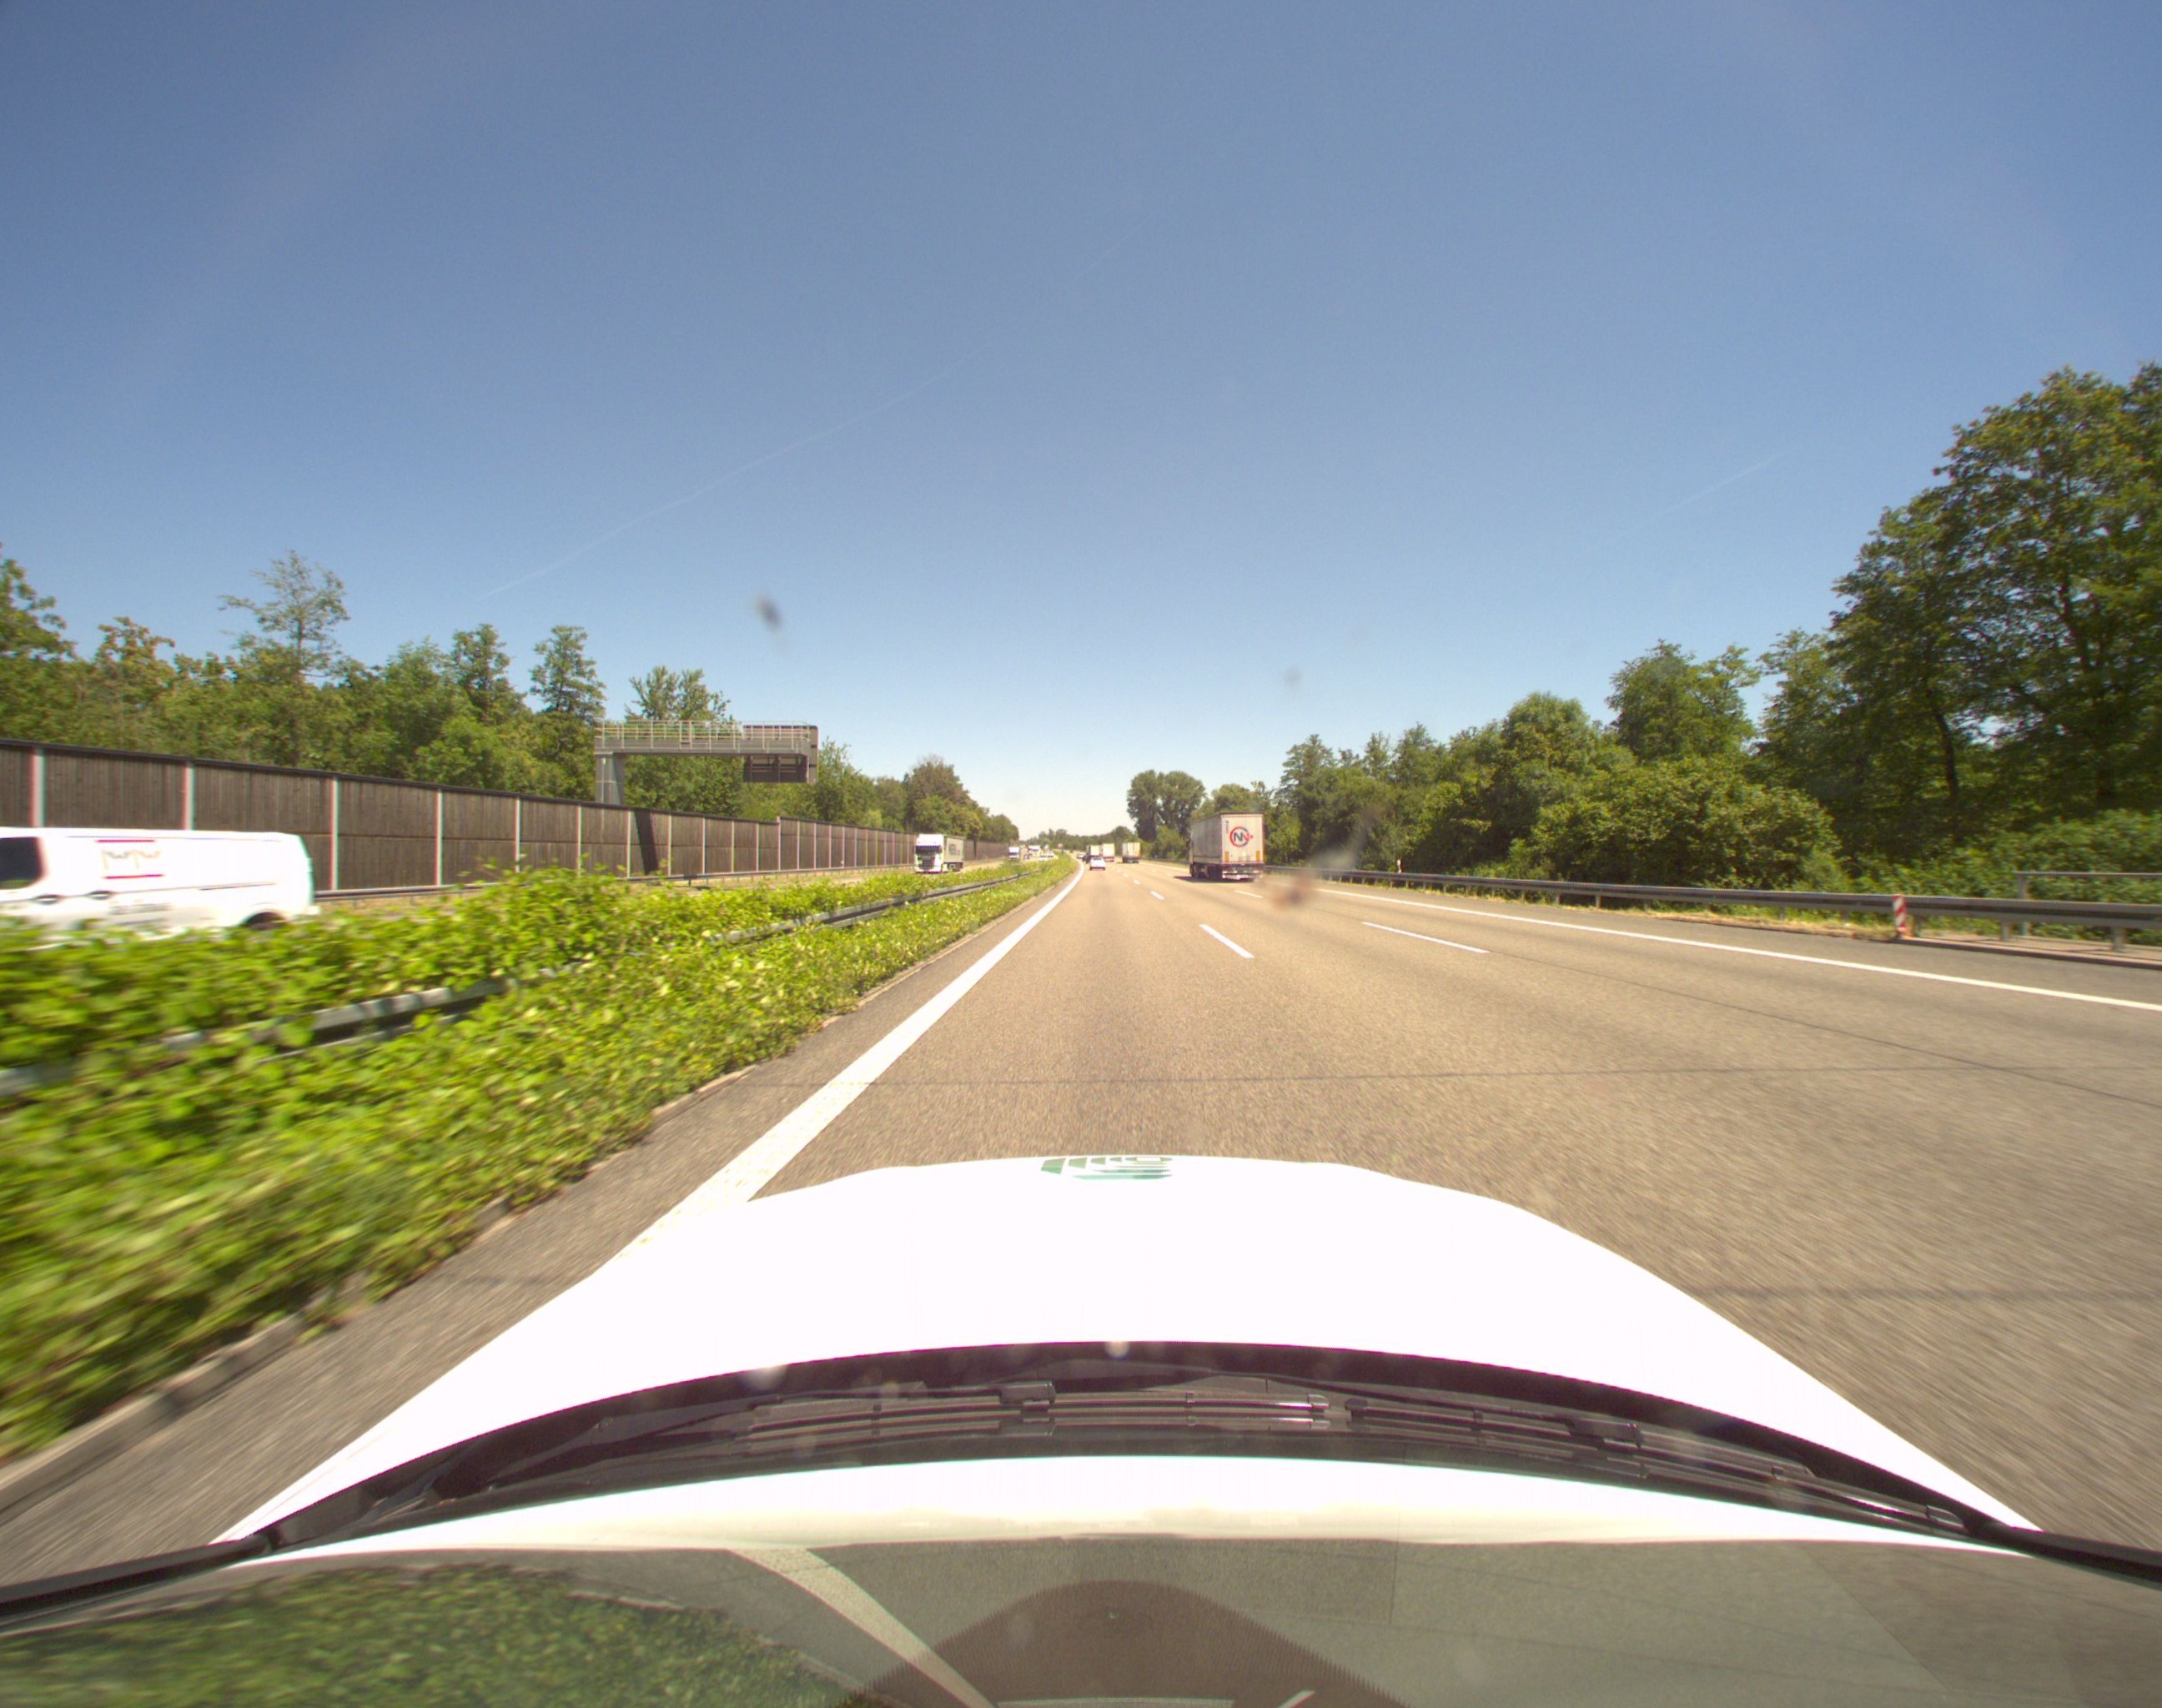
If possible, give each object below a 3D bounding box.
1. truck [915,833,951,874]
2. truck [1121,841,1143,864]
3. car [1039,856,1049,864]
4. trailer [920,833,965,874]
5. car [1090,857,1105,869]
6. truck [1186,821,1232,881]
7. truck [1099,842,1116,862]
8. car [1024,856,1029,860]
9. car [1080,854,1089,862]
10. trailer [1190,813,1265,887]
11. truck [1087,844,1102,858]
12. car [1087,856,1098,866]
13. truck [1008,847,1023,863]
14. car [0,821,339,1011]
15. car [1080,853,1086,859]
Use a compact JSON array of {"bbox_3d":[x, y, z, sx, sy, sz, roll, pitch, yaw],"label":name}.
[{"bbox_3d":[-15.130,-0.061,83.540,2.512,4.066,6.370,0,0,0],"label":"truck"},{"bbox_3d":[9.818,-0.296,156.882,3.481,4.311,10.985,0,0,0],"label":"truck"},{"bbox_3d":[-7.560,1.272,166.445,1.577,1.588,4.001,0,0,1],"label":"car"},{"bbox_3d":[-15.104,-0.038,90.018,2.476,4.135,13.652,0,0,0],"label":"trailer"},{"bbox_3d":[1.916,1.045,94.646,1.709,1.369,3.376,-1,0,2],"label":"car"},{"bbox_3d":[9.490,-0.229,60.925,2.597,4.287,5.435,0,0,0],"label":"truck"},{"bbox_3d":[5.877,-0.504,183.414,3.349,4.311,10.825,0,0,0],"label":"truck"},{"bbox_3d":[-16.177,1.275,241.284,1.276,1.255,3.027,-1,0,-1],"label":"car"},{"bbox_3d":[0.722,0.909,188.848,1.988,2.013,3.998,-1,0,-1],"label":"car"},{"bbox_3d":[9.398,-0.192,53.906,2.615,4.261,14.062,0,0,1],"label":"trailer"},{"bbox_3d":[4.309,-0.827,261.175,3.574,4.311,12.168,0,0,-5],"label":"truck"},{"bbox_3d":[2.139,1.249,154.195,1.987,1.772,4.000,-1,0,0],"label":"car"},{"bbox_3d":[-15.457,0.265,192.137,2.824,3.609,8.744,-1,0,0],"label":"truck"},{"bbox_3d":[-12.413,0.672,9.893,1.986,2.014,5.105,-1,0,2],"label":"car"},{"bbox_3d":[0.464,0.543,239.648,1.719,1.783,3.998,-1,0,-1],"label":"car"}]
